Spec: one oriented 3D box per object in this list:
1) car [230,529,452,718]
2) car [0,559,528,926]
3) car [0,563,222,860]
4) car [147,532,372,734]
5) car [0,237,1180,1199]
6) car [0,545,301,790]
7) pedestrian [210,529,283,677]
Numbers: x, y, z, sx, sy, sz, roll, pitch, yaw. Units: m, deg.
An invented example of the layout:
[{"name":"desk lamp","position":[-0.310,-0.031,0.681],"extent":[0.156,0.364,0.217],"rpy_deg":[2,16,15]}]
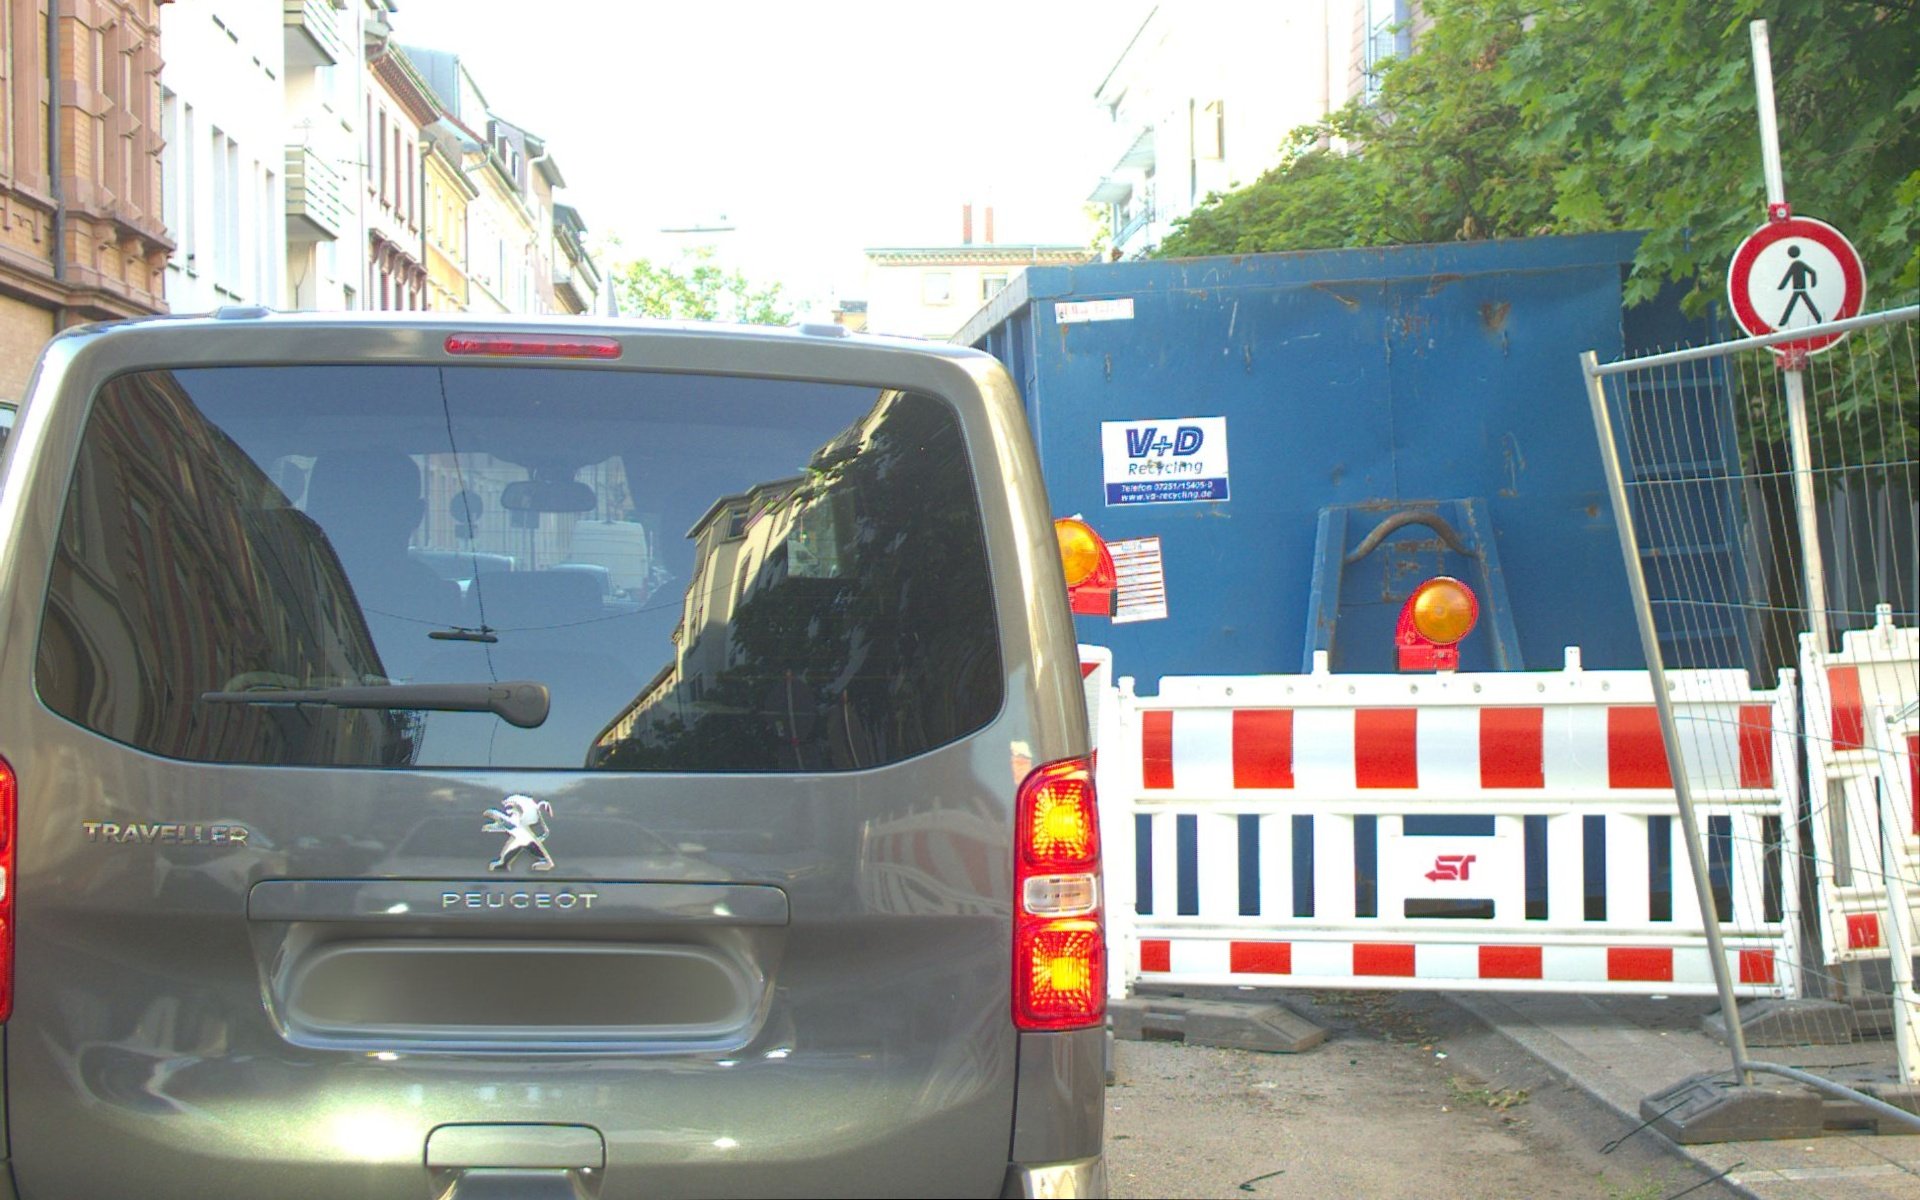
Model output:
[{"name":"car","position":[-6.298,0.225,35.323],"extent":[1.891,1.714,3.755],"rpy_deg":[4,0,-7]},{"name":"car","position":[-3.093,0.591,15.721],"extent":[1.656,1.455,3.417],"rpy_deg":[-1,0,2]},{"name":"car","position":[-5.201,0.546,19.288],"extent":[1.655,1.455,3.418],"rpy_deg":[4,0,-7]},{"name":"car","position":[-6.400,0.285,31.678],"extent":[1.666,1.660,3.092],"rpy_deg":[4,0,-7]},{"name":"car","position":[-0.866,0.446,6.774],"extent":[1.865,1.880,4.236],"rpy_deg":[0,0,-7]},{"name":"car","position":[-5.737,0.444,24.596],"extent":[1.655,1.520,3.418],"rpy_deg":[4,0,-7]},{"name":"pedestrian","position":[-8.129,0.031,39.192],"extent":[0.739,1.659,0.704],"rpy_deg":[-1,1,-7]}]
